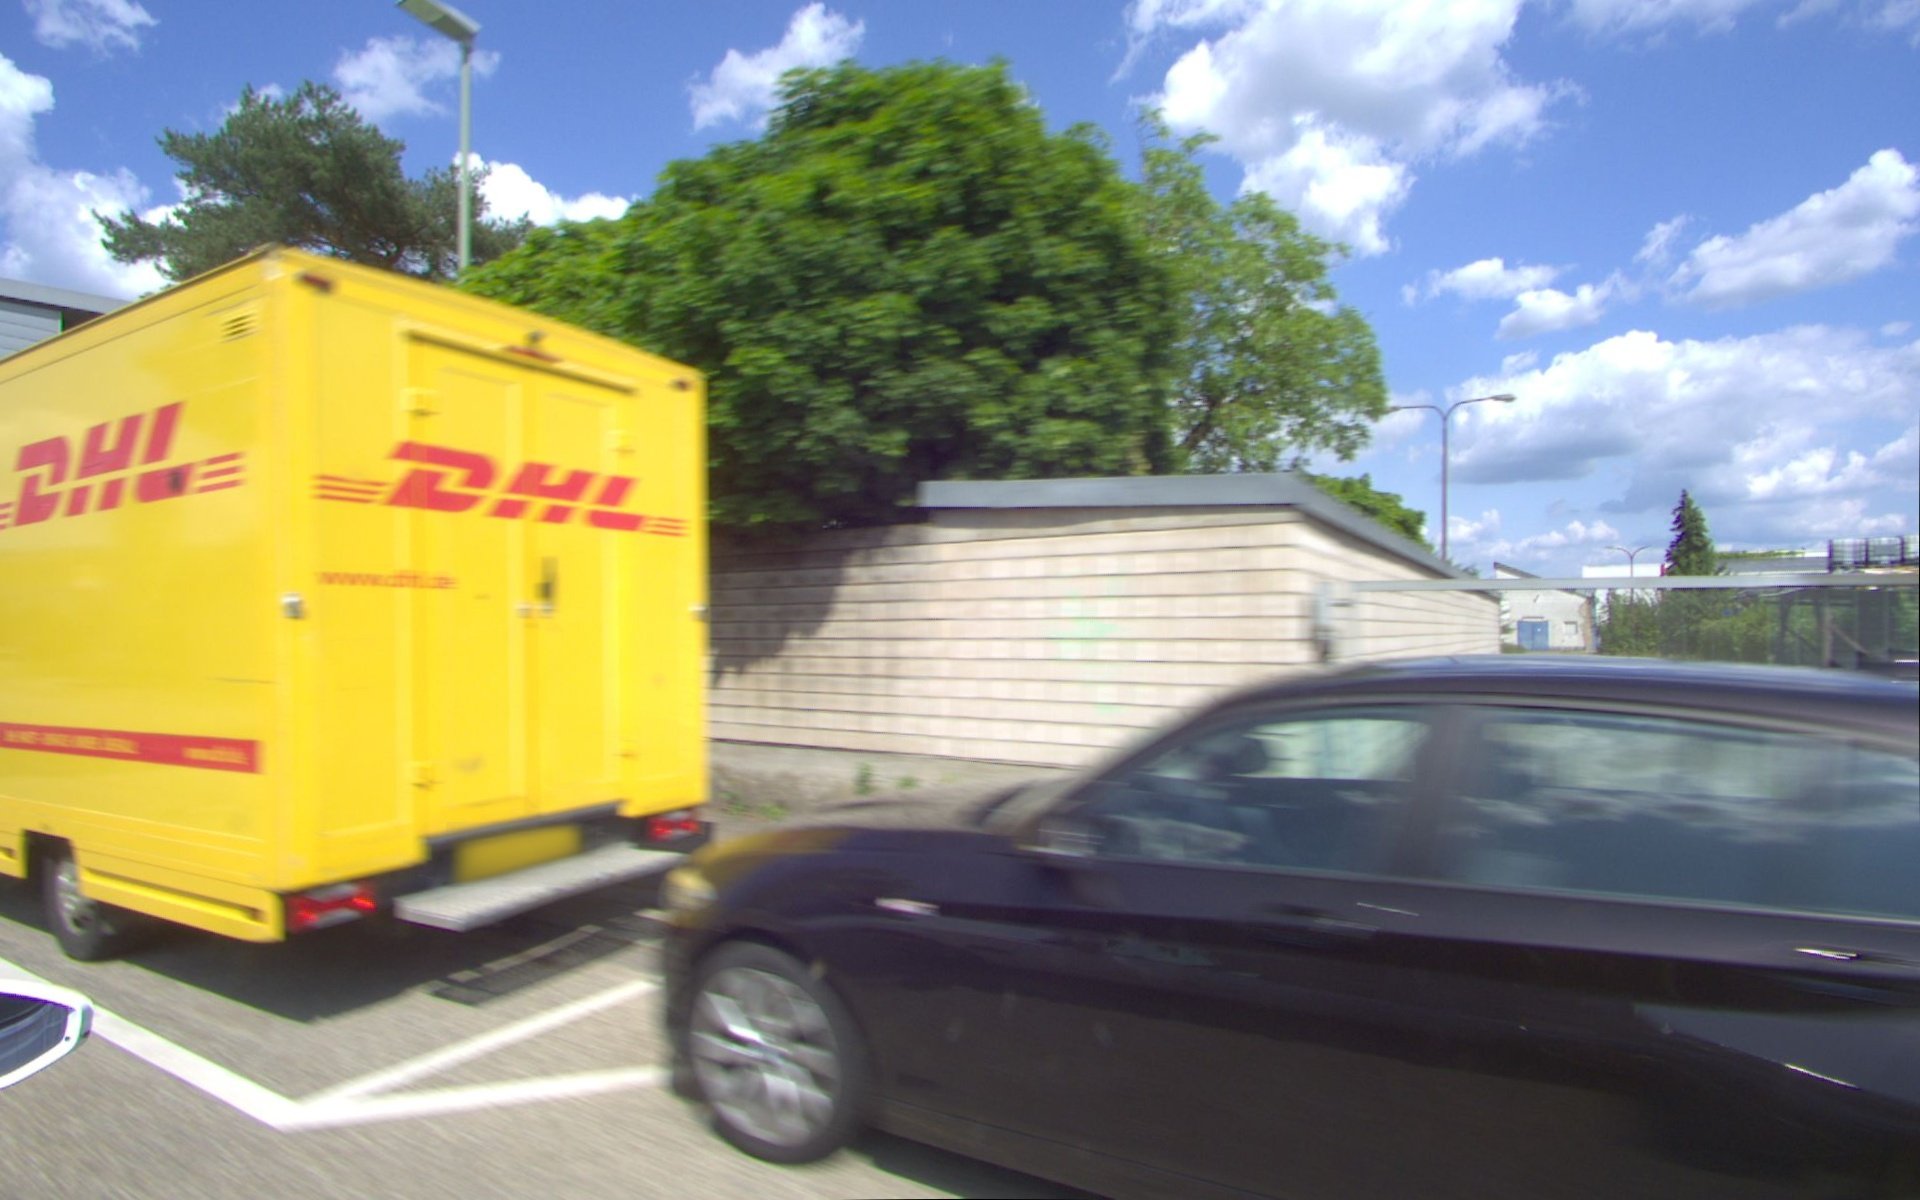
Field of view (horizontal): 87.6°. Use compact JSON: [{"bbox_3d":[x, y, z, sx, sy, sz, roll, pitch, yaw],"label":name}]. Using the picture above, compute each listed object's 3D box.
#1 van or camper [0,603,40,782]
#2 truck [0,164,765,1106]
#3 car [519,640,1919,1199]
[{"bbox_3d":[-12.413,0.969,11.218,5.508,1.828,1.756,-1,-2,33],"label":"van or camper"},{"bbox_3d":[-4.711,0.203,6.062,7.083,2.977,2.472,-1,-3,31],"label":"truck"},{"bbox_3d":[0.799,0.874,2.924,4.220,1.459,1.661,-1,-3,31],"label":"car"}]
